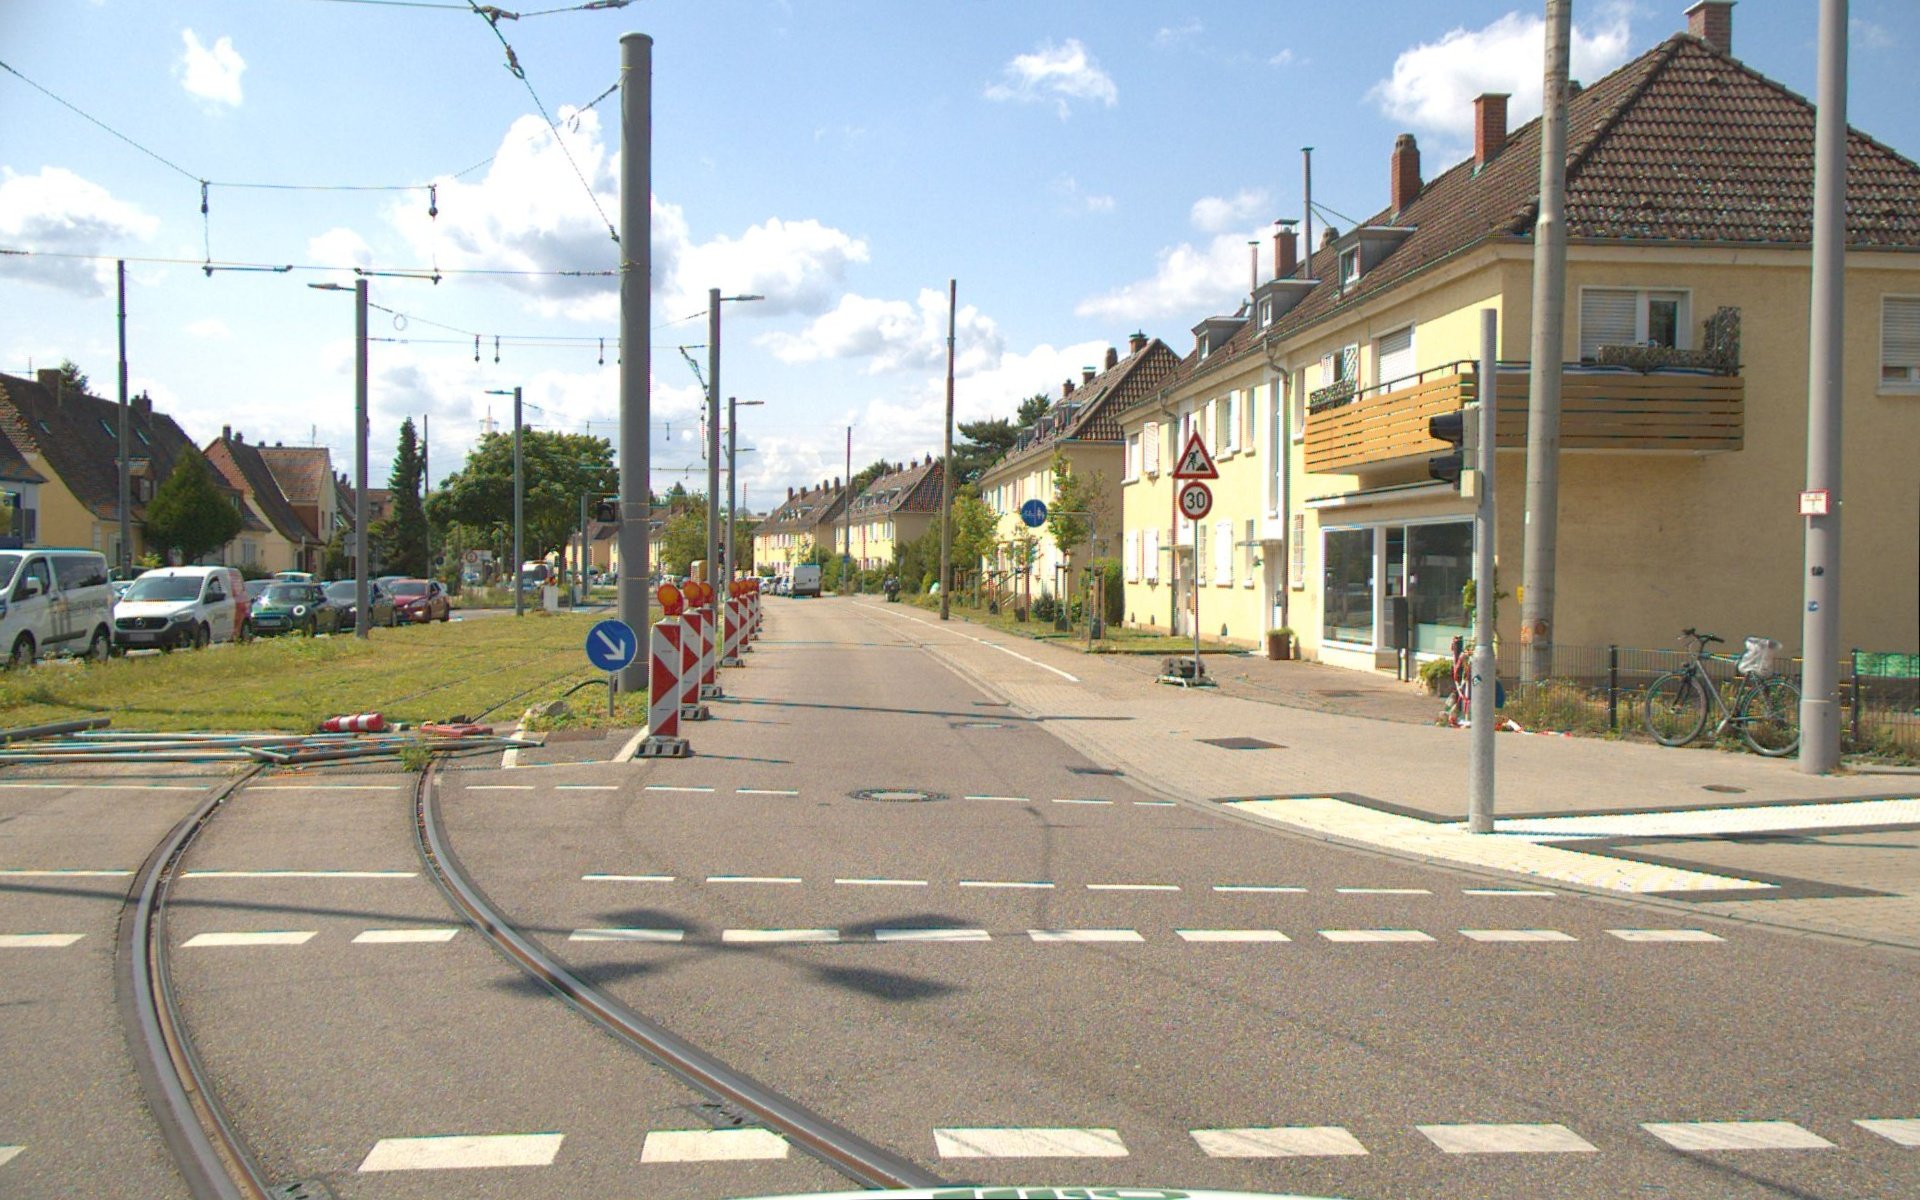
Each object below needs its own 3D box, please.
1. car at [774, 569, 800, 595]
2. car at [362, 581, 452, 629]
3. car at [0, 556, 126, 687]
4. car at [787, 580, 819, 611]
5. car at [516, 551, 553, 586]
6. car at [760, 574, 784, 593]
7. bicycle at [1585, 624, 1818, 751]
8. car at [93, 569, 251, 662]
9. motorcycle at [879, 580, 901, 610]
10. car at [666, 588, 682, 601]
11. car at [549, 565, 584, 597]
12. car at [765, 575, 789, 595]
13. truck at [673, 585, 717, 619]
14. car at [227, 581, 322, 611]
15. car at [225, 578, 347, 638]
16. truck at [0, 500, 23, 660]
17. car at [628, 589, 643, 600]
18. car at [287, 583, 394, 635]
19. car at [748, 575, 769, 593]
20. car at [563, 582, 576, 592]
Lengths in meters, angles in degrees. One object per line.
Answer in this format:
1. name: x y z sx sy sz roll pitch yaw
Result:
1. car: -13.347 -1.387 127.555 1.540 1.930 3.777 0 0 -13
2. car: -18.264 0.138 54.833 1.808 1.520 4.850 0 0 -6
3. car: -15.332 0.298 26.795 1.780 1.955 4.740 0 0 -8
4. car: -11.240 -0.332 118.081 2.027 2.186 4.868 0 0 -9
5. car: -29.979 -2.209 116.396 2.368 2.379 4.857 0 0 -17
6. car: -15.717 -1.359 138.218 1.540 1.578 3.777 0 1 -13
7. bicycle: 7.181 0.809 16.163 0.585 1.115 2.259 0 0 -25
8. car: -16.409 0.288 34.672 1.700 1.813 4.397 0 0 -8
9. motorcycle: -3.921 -0.303 92.853 1.046 1.664 2.080 0 0 -7
10. car: -32.894 -0.614 190.159 1.240 1.451 2.646 0 0 -23
11. car: -30.617 -1.502 128.567 2.368 2.411 4.857 0 1 -17
12. car: -14.708 -1.185 132.730 1.540 1.578 3.777 0 1 -13
13. truck: -28.658 0.165 178.424 2.604 3.555 9.372 0 0 -23
14. car: -34.459 -0.228 83.210 4.029 1.492 1.988 0 1 -7
15. car: -16.884 0.188 41.625 1.879 1.443 3.993 0 0 -7
16. truck: -20.390 -0.398 30.520 2.716 3.244 7.570 0 0 -8
17. car: -41.346 -0.721 210.735 1.241 1.451 2.645 0 0 -24
18. car: -17.831 0.232 47.804 1.808 1.438 4.908 0 0 -7
19. car: -18.290 -1.461 149.763 1.540 1.578 3.467 0 1 -13
20. car: -57.364 -1.894 242.824 1.243 1.451 2.641 0 1 -28
